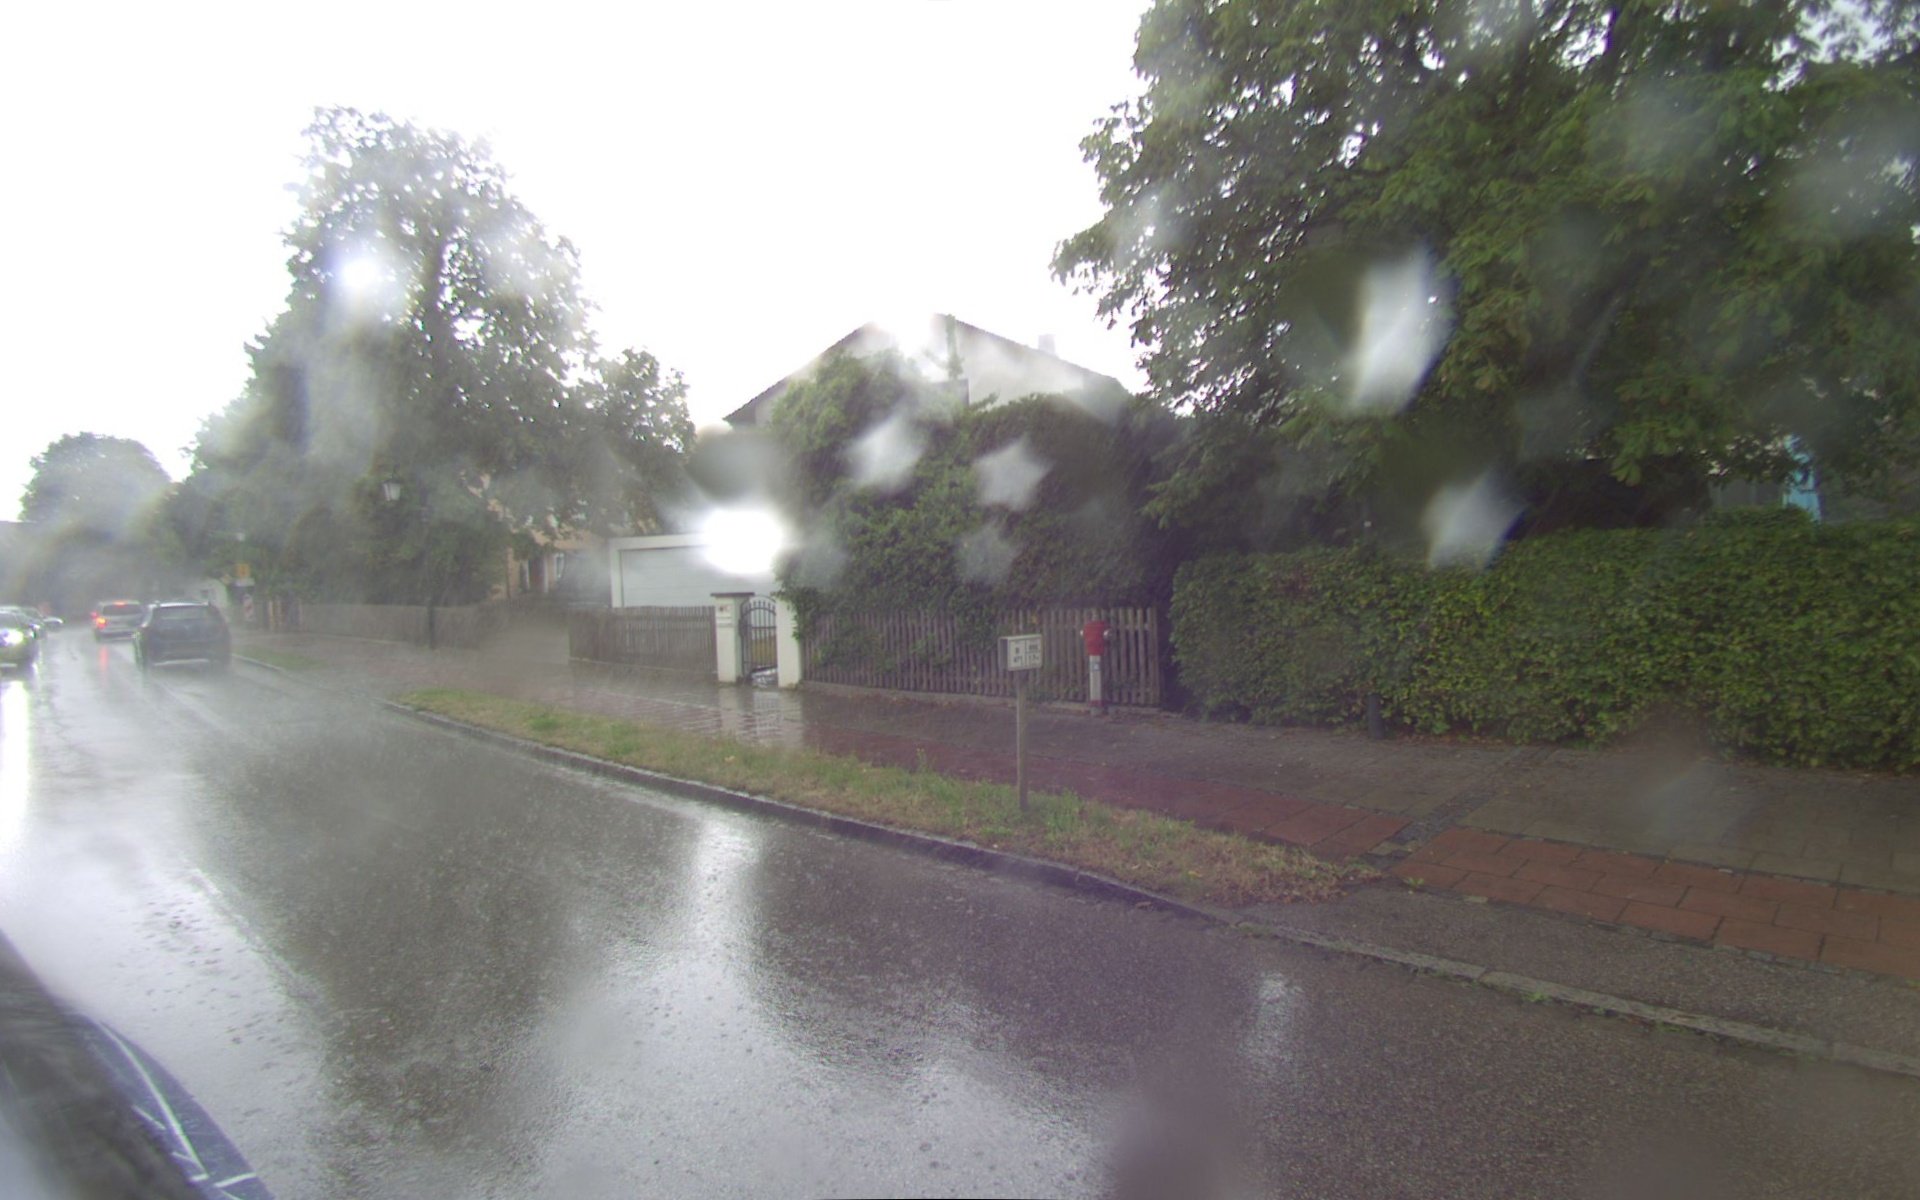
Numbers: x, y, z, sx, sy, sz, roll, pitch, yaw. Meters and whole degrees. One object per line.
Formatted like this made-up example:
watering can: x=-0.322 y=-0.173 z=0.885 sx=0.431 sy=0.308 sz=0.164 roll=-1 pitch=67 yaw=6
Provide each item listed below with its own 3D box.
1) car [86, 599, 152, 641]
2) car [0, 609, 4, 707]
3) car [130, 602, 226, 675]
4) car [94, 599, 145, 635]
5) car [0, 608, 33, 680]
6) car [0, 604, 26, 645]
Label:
car: x=-35.063 y=0.825 z=42.162 sx=4.002 sy=1.690 sz=1.733 roll=-1 pitch=-1 yaw=45
car: x=-15.443 y=0.915 z=14.908 sx=1.845 sy=1.532 sz=4.193 roll=-2 pitch=1 yaw=-42
car: x=-19.001 y=0.883 z=24.536 sx=1.567 sy=1.622 sz=3.543 roll=0 pitch=-1 yaw=-42
car: x=-43.510 y=0.832 z=52.355 sx=1.899 sy=1.757 sz=4.197 roll=-1 pitch=1 yaw=-42
car: x=-24.566 y=1.086 z=25.345 sx=1.845 sy=1.624 sz=4.967 roll=-4 pitch=3 yaw=-42
car: x=-38.424 y=0.975 z=40.180 sx=1.845 sy=1.532 sz=4.967 roll=-4 pitch=2 yaw=-42
